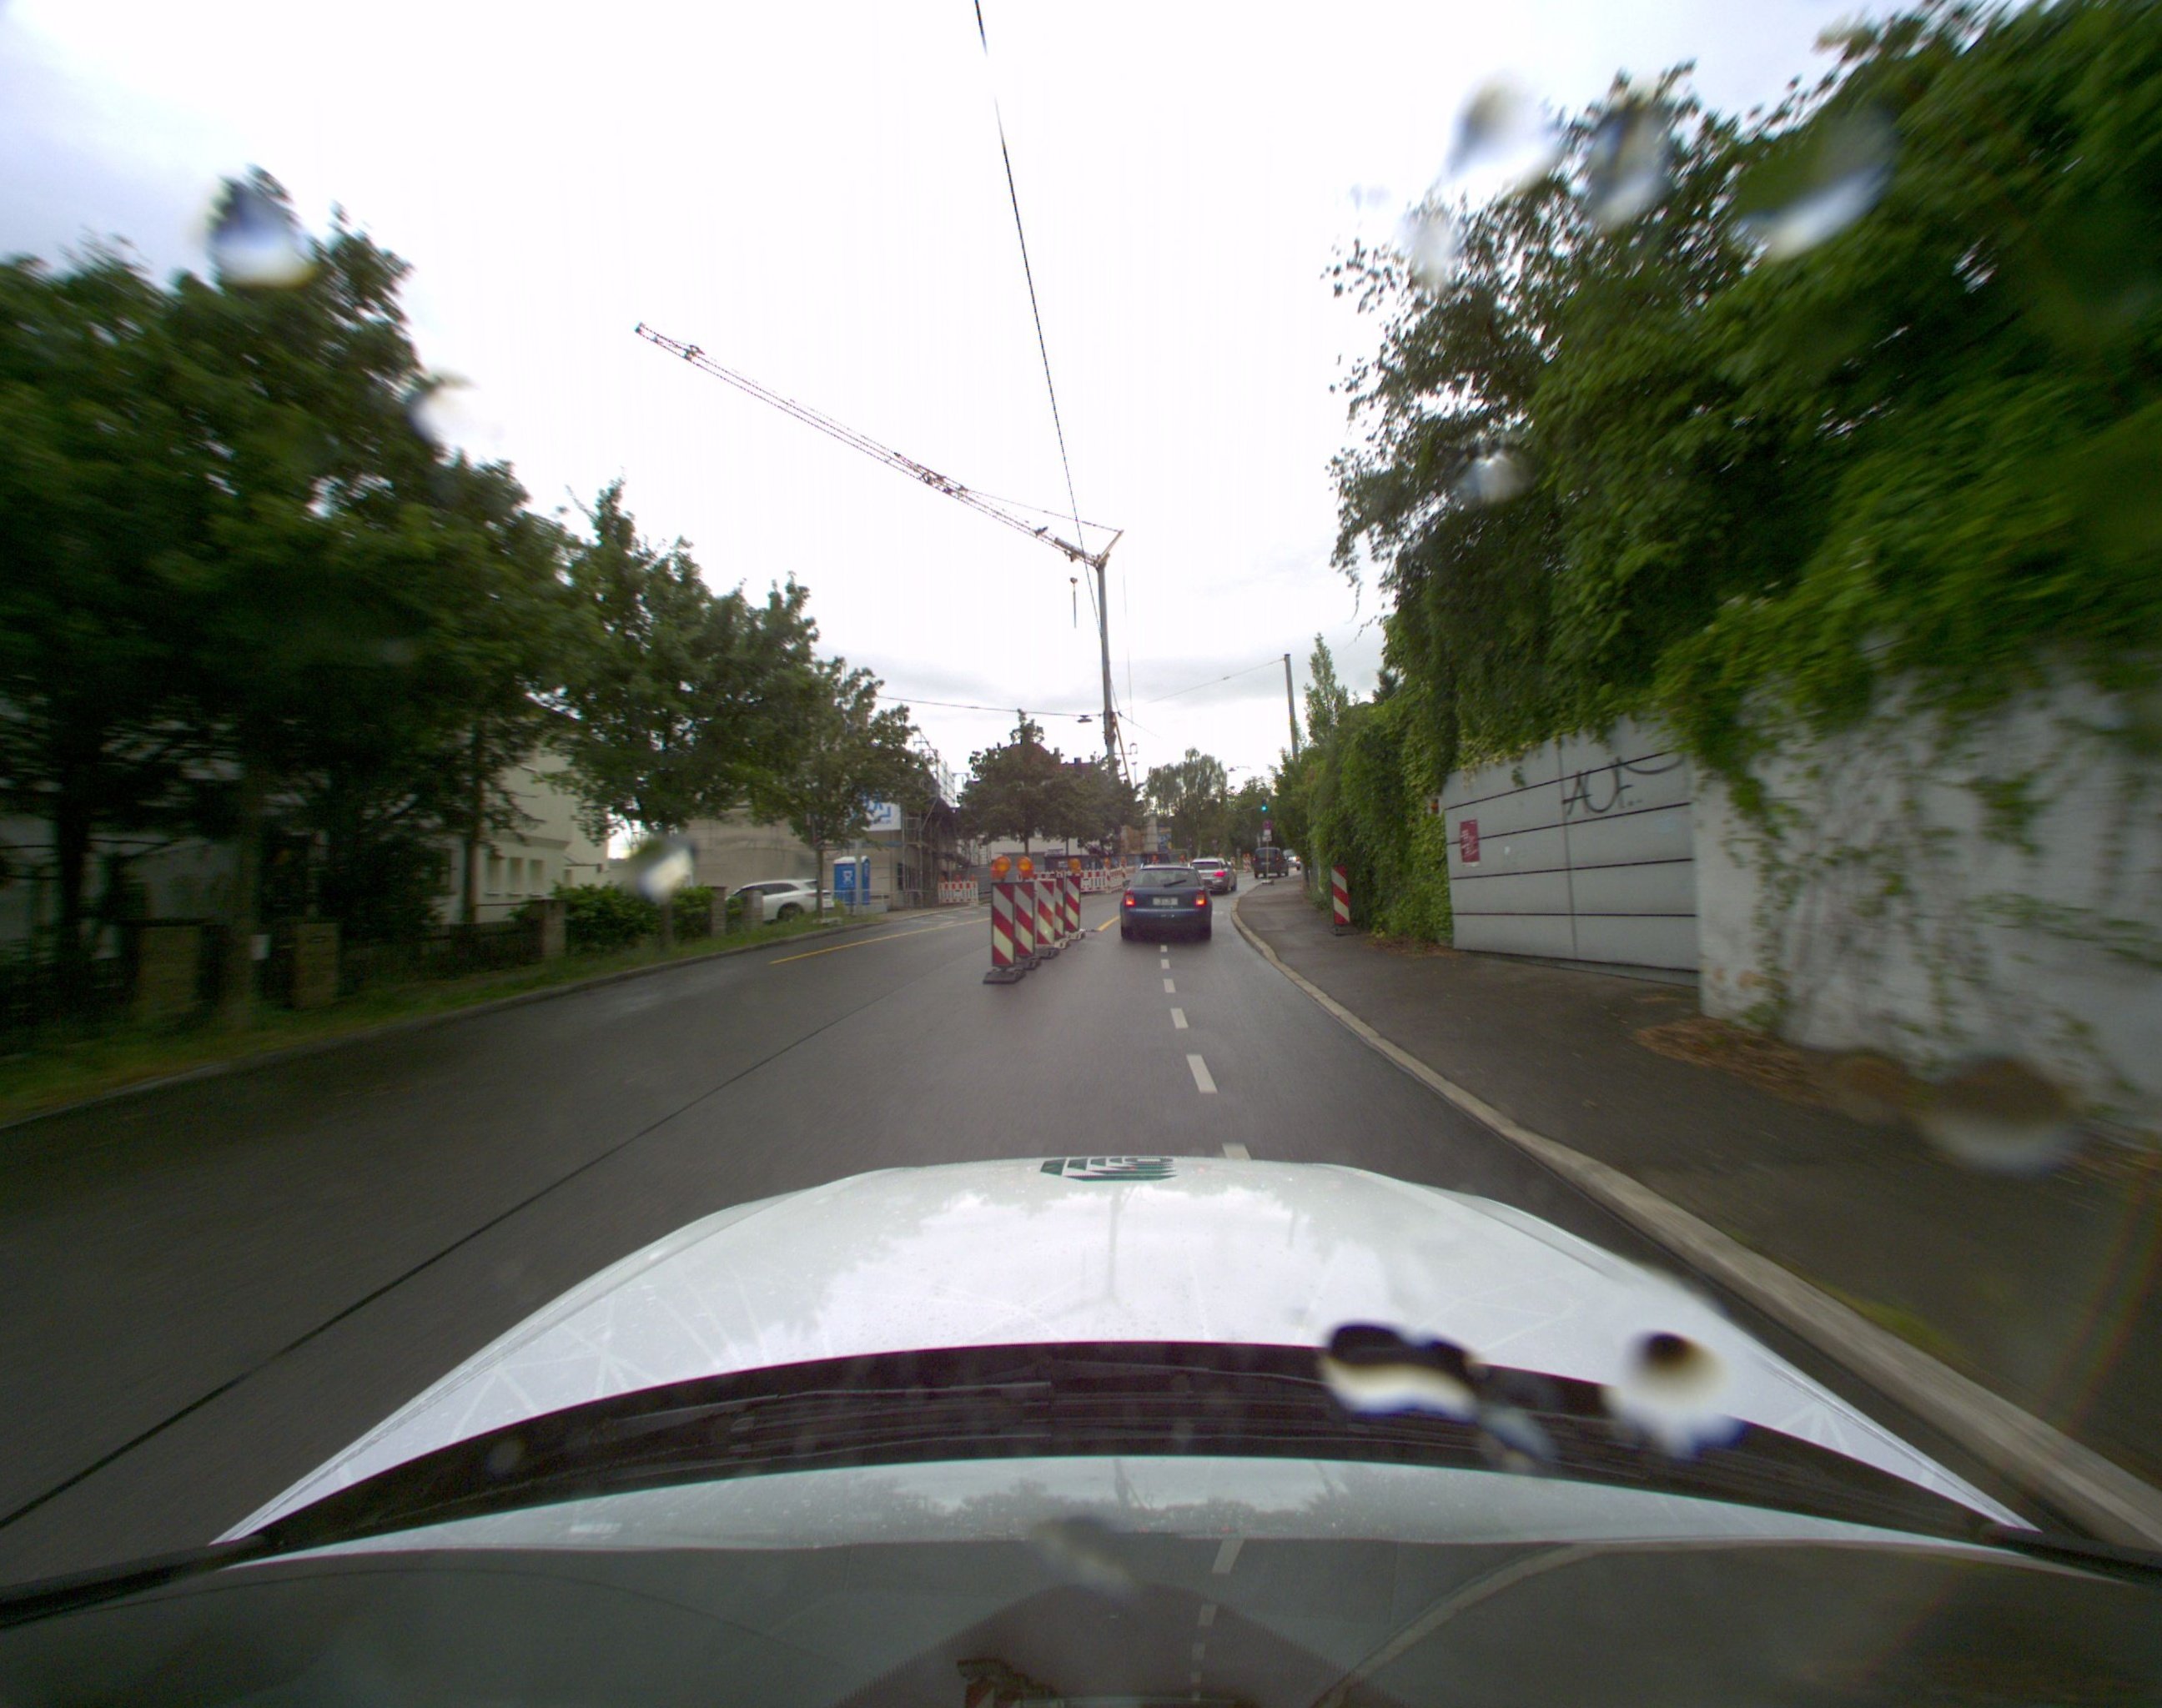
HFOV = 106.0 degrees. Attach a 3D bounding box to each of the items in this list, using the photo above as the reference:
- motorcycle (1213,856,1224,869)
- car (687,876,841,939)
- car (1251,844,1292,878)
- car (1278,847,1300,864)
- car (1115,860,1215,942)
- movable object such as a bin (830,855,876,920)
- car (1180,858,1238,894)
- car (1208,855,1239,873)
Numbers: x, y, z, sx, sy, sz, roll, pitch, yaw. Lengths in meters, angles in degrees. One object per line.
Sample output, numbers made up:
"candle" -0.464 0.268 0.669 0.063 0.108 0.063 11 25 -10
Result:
"motorcycle" 13.611 0.845 80.473 0.585 1.131 1.854 -5 -1 24
"car" -10.408 1.728 26.958 4.183 1.604 1.950 -5 -2 0
"car" 12.030 0.416 51.306 1.715 1.894 4.077 -5 -1 22
"car" 18.937 0.143 74.102 1.443 1.526 2.939 -2 0 23
"car" 1.686 0.878 16.581 1.768 1.439 4.005 0 -1 5
"movable object such as a bin" -9.147 1.311 32.689 1.307 2.506 1.387 -3 -1 2
"car" 5.431 0.881 34.243 1.894 1.388 4.368 -1 -1 15
"car" 15.368 1.132 88.023 1.688 1.509 3.989 -6 -3 -16
